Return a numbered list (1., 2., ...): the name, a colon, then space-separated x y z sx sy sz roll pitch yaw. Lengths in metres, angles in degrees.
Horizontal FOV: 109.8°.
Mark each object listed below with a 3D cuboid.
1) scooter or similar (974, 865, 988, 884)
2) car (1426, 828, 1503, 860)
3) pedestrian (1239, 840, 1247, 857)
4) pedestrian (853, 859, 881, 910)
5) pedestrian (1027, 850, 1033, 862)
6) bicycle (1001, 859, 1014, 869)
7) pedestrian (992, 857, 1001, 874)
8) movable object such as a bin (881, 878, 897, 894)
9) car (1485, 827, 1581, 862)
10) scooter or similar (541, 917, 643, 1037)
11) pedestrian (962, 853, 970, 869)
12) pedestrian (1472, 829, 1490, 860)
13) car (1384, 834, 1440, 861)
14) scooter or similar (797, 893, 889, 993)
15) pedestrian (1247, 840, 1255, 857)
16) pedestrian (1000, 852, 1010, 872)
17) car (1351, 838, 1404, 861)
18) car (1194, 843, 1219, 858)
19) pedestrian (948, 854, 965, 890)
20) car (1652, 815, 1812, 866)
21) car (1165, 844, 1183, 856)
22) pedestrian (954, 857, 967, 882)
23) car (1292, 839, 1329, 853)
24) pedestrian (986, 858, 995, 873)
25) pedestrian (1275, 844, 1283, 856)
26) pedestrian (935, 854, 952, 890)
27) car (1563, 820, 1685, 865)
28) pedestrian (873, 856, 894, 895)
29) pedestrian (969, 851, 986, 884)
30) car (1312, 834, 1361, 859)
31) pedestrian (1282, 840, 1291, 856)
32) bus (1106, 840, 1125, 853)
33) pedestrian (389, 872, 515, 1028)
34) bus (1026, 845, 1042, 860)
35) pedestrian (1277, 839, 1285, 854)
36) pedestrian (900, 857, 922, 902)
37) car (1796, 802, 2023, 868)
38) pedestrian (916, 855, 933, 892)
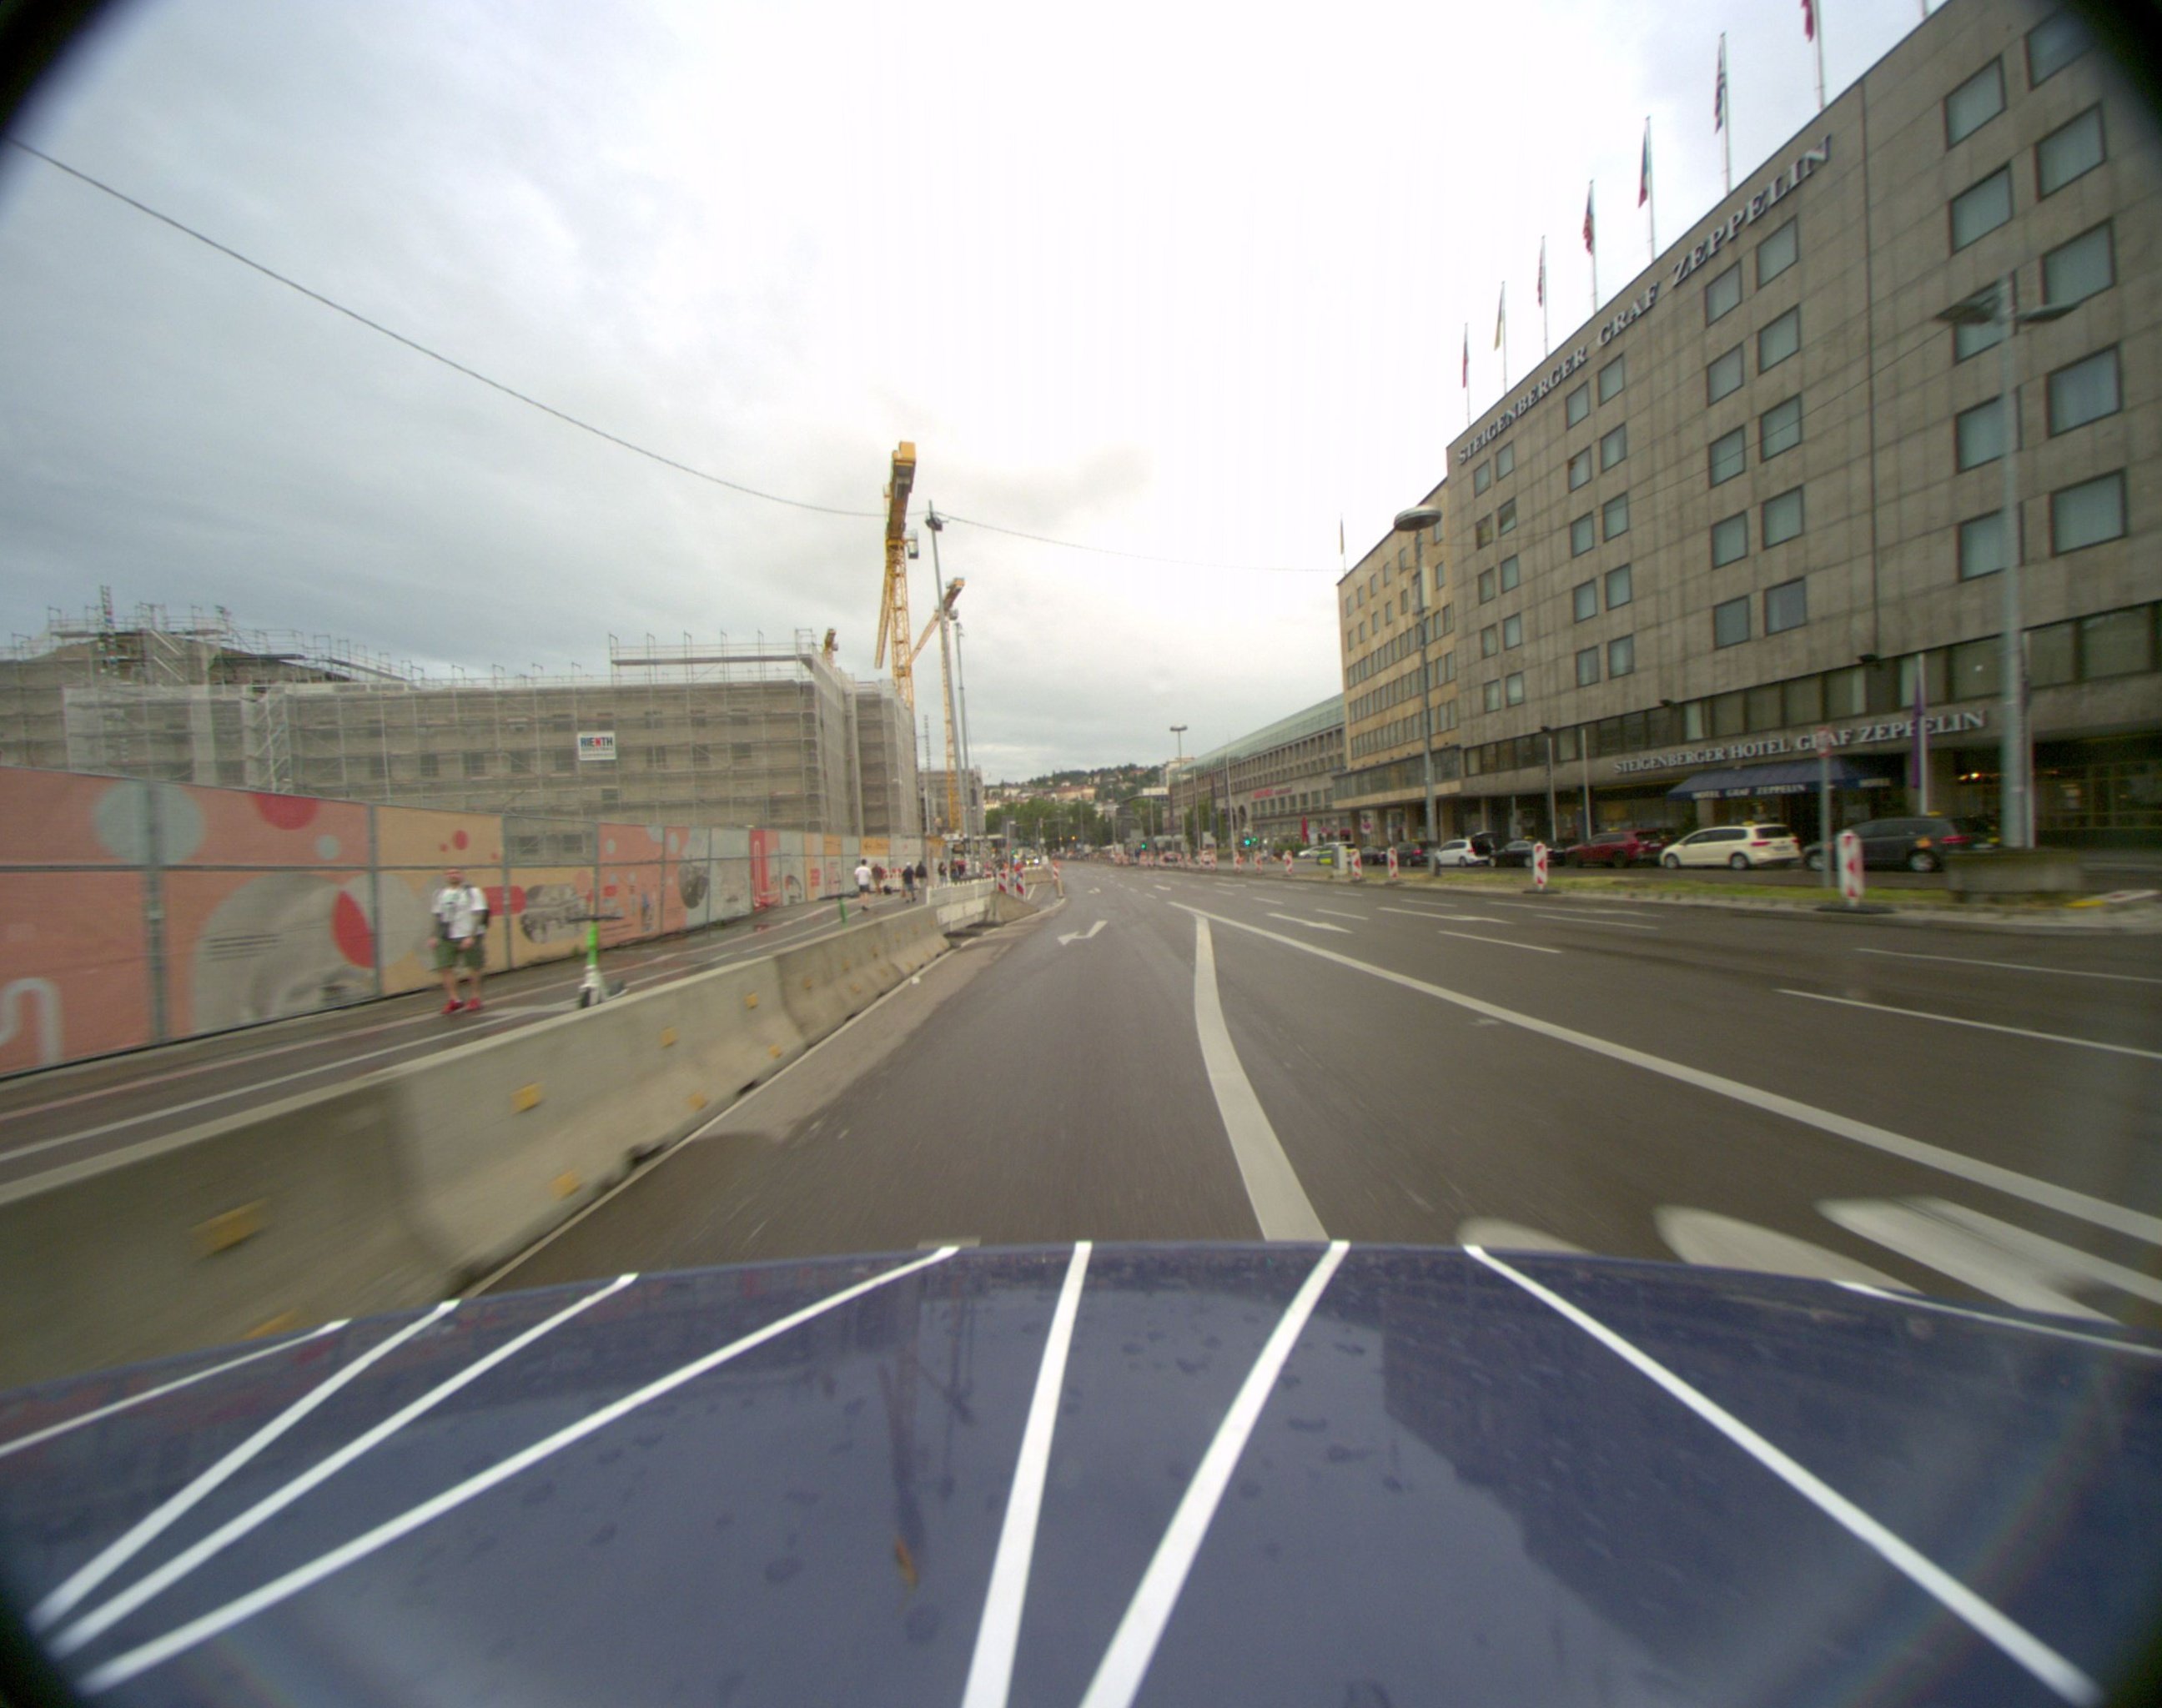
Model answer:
1. scooter or similar: -6.344 1.302 48.242 0.666 1.191 1.044 -3 1 0
2. car: 22.895 -0.562 45.581 1.759 1.748 4.708 -3 1 -6
3. pedestrian: 19.140 -0.659 89.796 0.705 2.002 0.807 -3 1 -5
4. pedestrian: -7.562 1.080 26.900 0.685 1.730 0.907 -3 1 -3
5. pedestrian: -8.470 0.360 126.432 0.735 2.002 0.645 -3 1 -11
6. bicycle: -8.299 1.141 85.807 0.755 1.127 1.994 0 1 14
7. pedestrian: -9.201 1.227 82.896 0.815 1.745 0.881 -3 1 -1
8. movable object such as a bin: -9.762 1.623 38.689 0.598 0.730 0.777 -3 2 -4
9. car: 23.425 -0.467 39.587 1.908 1.650 4.614 -3 0 -5
10. scooter or similar: -5.759 1.406 9.026 0.469 1.176 1.414 -3 1 -11
11. pedestrian: -14.237 0.864 94.281 0.629 2.002 0.577 -4 1 -37
12. pedestrian: 23.941 -0.576 45.462 0.623 1.771 0.657 -5 2 -5
13. car: 22.215 -0.434 51.190 1.759 1.671 4.227 -3 0 -3
14. scooter or similar: -3.348 1.215 10.834 0.676 1.207 1.572 -3 1 4
15. pedestrian: 19.758 -0.647 88.176 0.591 1.914 0.751 -3 1 -6
16. pedestrian: -7.949 0.833 79.225 0.788 2.000 0.865 -3 1 4
17. car: 22.048 -0.327 56.706 1.759 1.612 4.562 -3 1 -6
18. car: 15.190 -0.462 92.036 1.829 1.659 4.497 -3 1 -6
19. pedestrian: -6.608 0.954 40.472 0.685 1.878 0.693 -3 1 0
20. car: 24.346 -0.496 28.690 1.821 1.688 4.575 -3 1 -5
21. car: 13.804 -0.533 112.770 1.779 1.659 4.498 -2 0 -4
22. pedestrian: -9.410 1.184 59.320 0.850 1.884 0.662 -3 1 -1
23. car: 29.072 -0.995 96.250 4.091 1.630 1.806 -3 1 0
24. pedestrian: -10.823 1.344 90.511 0.741 1.717 0.715 4 1 17
25. pedestrian: 21.732 -0.472 83.456 0.564 1.284 0.752 -3 1 -7
26. pedestrian: -7.337 0.952 40.472 0.685 1.878 0.693 -3 1 0
27. car: 24.074 -0.502 33.962 1.907 1.757 4.645 -3 1 -3
28. pedestrian: -9.979 1.089 38.348 0.769 1.884 0.654 -3 1 -1
29. pedestrian: -6.427 0.848 47.212 0.805 2.005 0.972 -3 1 0
30. car: 21.538 -0.600 64.256 1.906 1.917 5.073 -2 0 -6
31. pedestrian: 22.150 -0.673 81.938 0.564 1.659 0.752 -3 1 -7
32. bus: 8.394 -1.728 186.759 2.911 2.923 9.815 -3 1 -8
33. pedestrian: -8.103 1.195 9.842 0.705 1.855 0.990 -3 1 -1
34. bus: -10.752 -0.362 172.071 3.001 3.120 7.759 -3 1 -8
35. pedestrian: 21.928 -0.849 83.279 0.666 1.583 0.680 -3 1 -7
36. pedestrian: -6.791 0.999 30.333 0.644 1.730 0.837 -3 1 -3
37. car: 24.935 -0.539 23.160 1.821 1.718 4.512 -3 1 -3
38. pedestrian: -8.155 0.987 39.666 0.685 1.878 0.693 -3 1 -4
